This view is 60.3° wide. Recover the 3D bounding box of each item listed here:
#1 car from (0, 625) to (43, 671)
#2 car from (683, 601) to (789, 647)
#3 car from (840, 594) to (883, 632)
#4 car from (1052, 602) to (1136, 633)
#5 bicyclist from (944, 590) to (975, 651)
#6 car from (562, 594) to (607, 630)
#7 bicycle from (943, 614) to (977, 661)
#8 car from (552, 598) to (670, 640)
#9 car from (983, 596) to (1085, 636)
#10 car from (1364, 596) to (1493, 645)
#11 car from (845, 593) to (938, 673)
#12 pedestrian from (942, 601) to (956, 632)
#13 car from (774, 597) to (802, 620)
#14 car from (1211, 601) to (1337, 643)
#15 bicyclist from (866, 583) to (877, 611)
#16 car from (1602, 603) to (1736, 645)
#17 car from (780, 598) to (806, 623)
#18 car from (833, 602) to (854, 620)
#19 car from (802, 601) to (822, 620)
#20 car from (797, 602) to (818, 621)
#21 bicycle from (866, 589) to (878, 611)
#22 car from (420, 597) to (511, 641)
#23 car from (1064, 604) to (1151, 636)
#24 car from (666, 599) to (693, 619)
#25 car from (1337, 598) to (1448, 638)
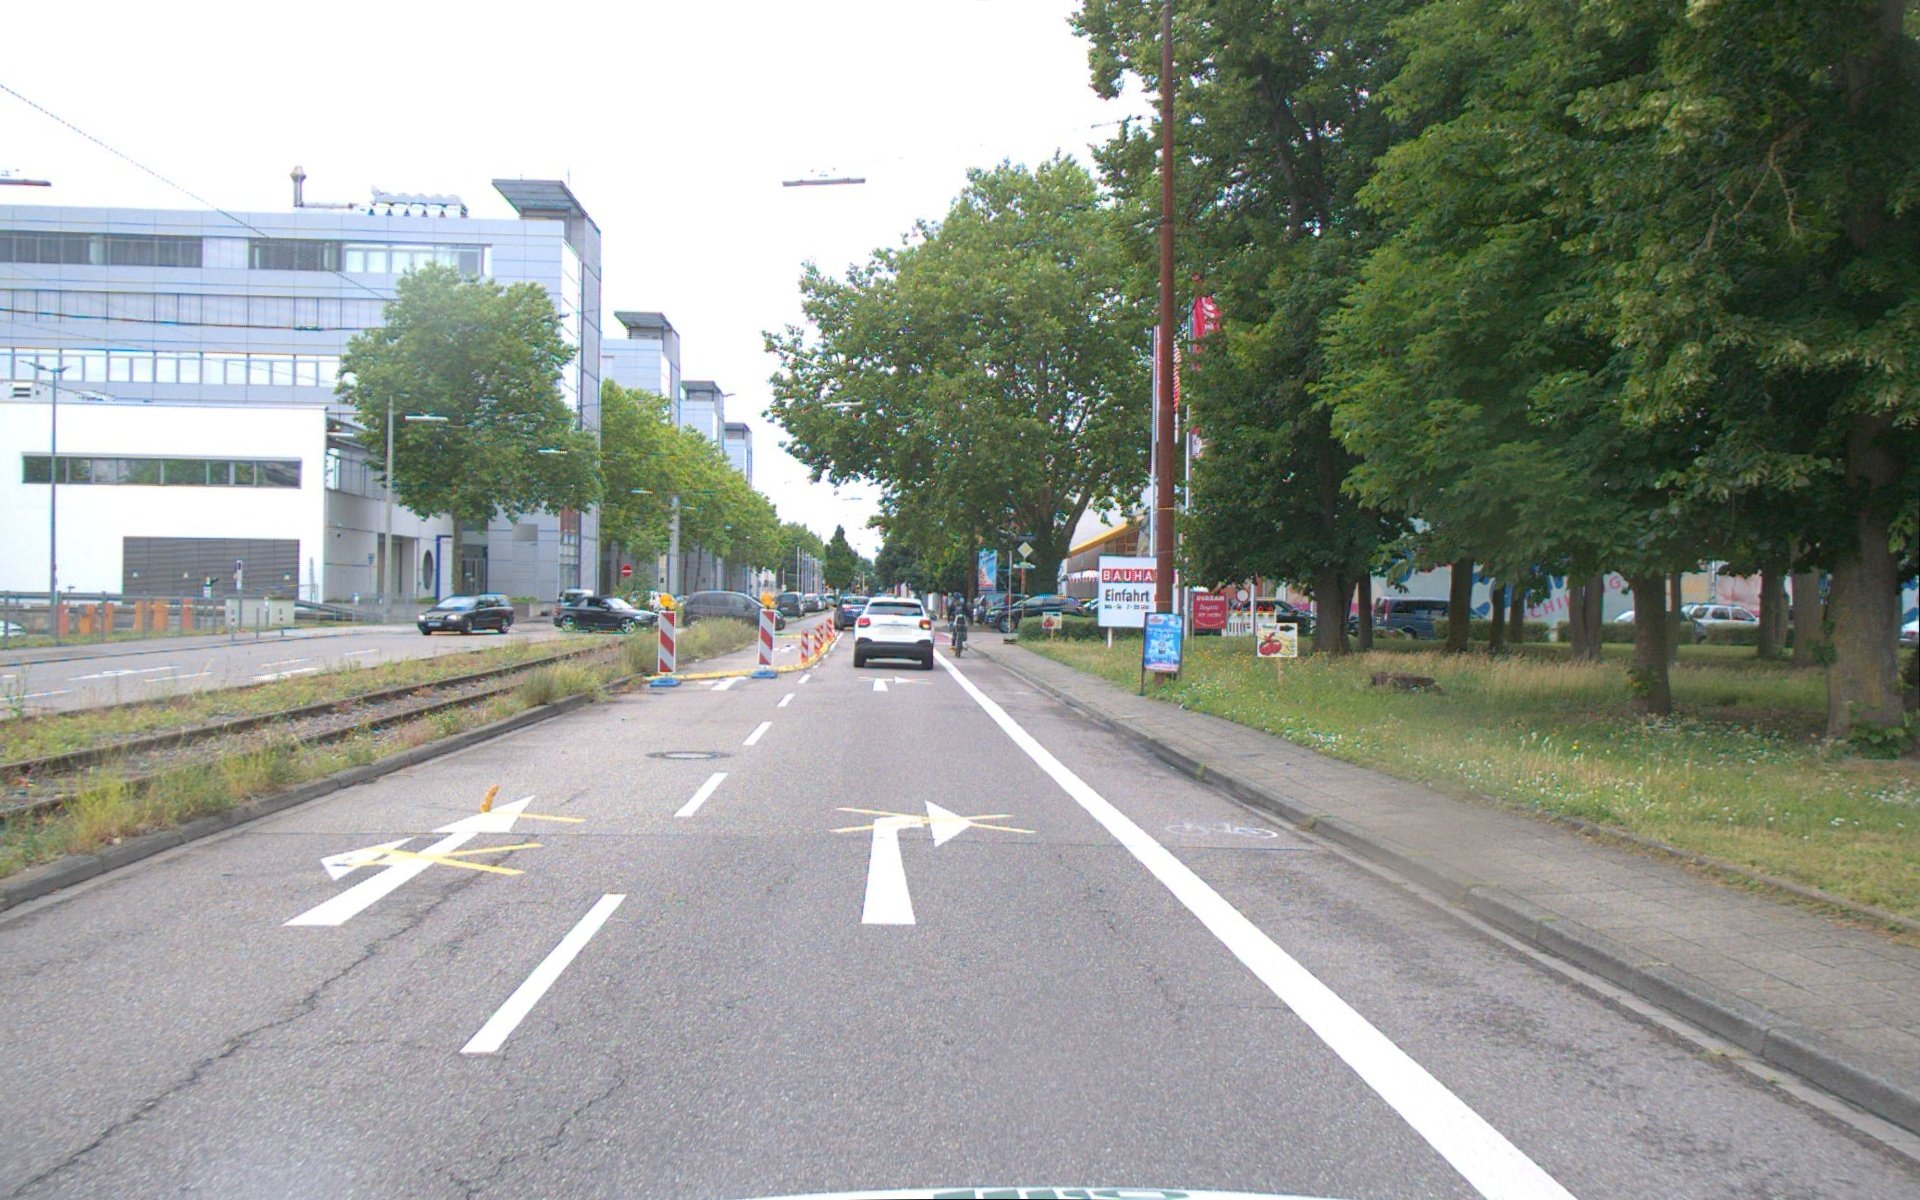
[{"bbox_3d":[-33.279,1.597,55.483,3.910,1.511,1.910,0,0,-6],"label":"car"},{"bbox_3d":[-8.558,0.920,63.446,3.806,1.583,1.824,2,-1,-4],"label":"car"},{"bbox_3d":[-4.256,0.546,71.412,1.652,1.540,3.701,2,0,-6],"label":"car"},{"bbox_3d":[6.930,0.912,85.903,4.131,1.579,1.788,0,0,-6],"label":"car"},{"bbox_3d":[-0.013,0.573,45.747,0.800,1.659,1.234,0,0,-3],"label":"bicyclist"},{"bbox_3d":[-19.476,0.639,85.879,1.784,1.814,4.420,0,0,-6],"label":"car"},{"bbox_3d":[-0.012,1.013,45.749,0.800,1.234,2.681,0,0,-3],"label":"bicycle"},{"bbox_3d":[-13.181,0.750,62.481,4.030,1.501,1.826,-1,-2,19],"label":"car"},{"bbox_3d":[3.162,0.690,71.191,4.228,1.706,1.991,0,0,-3],"label":"car"},{"bbox_3d":[18.429,0.795,65.164,4.462,1.821,2.072,1,1,-3],"label":"car"},{"bbox_3d":[-1.582,0.694,37.001,1.788,1.628,3.771,2,0,-6],"label":"car"},{"bbox_3d":[-0.636,0.943,95.109,0.746,1.734,0.680,0,0,-8],"label":"pedestrian"},{"bbox_3d":[-12.246,0.604,117.952,1.840,1.661,3.996,0,0,-4],"label":"car"},{"bbox_3d":[12.166,0.838,64.179,4.462,1.599,1.991,0,0,-3],"label":"car"},{"bbox_3d":[-5.975,-0.185,111.835,0.658,1.847,0.759,2,0,-6],"label":"bicyclist"},{"bbox_3d":[28.085,0.946,65.596,4.462,1.599,2.072,0,0,-3],"label":"car"},{"bbox_3d":[-12.494,0.775,123.760,1.840,1.794,3.996,0,0,-4],"label":"car"},{"bbox_3d":[-10.730,0.957,151.851,1.761,1.540,3.701,2,0,-6],"label":"car"},{"bbox_3d":[-14.070,1.013,157.319,1.840,1.794,3.996,0,0,-4],"label":"car"},{"bbox_3d":[-13.970,1.049,152.105,1.840,1.794,3.996,0,0,-4],"label":"car"},{"bbox_3d":[-5.959,0.012,111.673,0.658,1.418,2.164,2,0,-6],"label":"bicycle"},{"bbox_3d":[-17.657,0.655,59.256,1.781,1.498,4.428,0,0,2],"label":"car"},{"bbox_3d":[7.460,1.014,83.786,4.131,1.579,1.788,0,0,-6],"label":"car"},{"bbox_3d":[-23.903,0.775,141.148,1.840,1.661,4.202,0,0,-4],"label":"car"},{"bbox_3d":[19.383,0.809,74.314,4.459,1.706,2.081,1,0,0],"label":"car"}]
